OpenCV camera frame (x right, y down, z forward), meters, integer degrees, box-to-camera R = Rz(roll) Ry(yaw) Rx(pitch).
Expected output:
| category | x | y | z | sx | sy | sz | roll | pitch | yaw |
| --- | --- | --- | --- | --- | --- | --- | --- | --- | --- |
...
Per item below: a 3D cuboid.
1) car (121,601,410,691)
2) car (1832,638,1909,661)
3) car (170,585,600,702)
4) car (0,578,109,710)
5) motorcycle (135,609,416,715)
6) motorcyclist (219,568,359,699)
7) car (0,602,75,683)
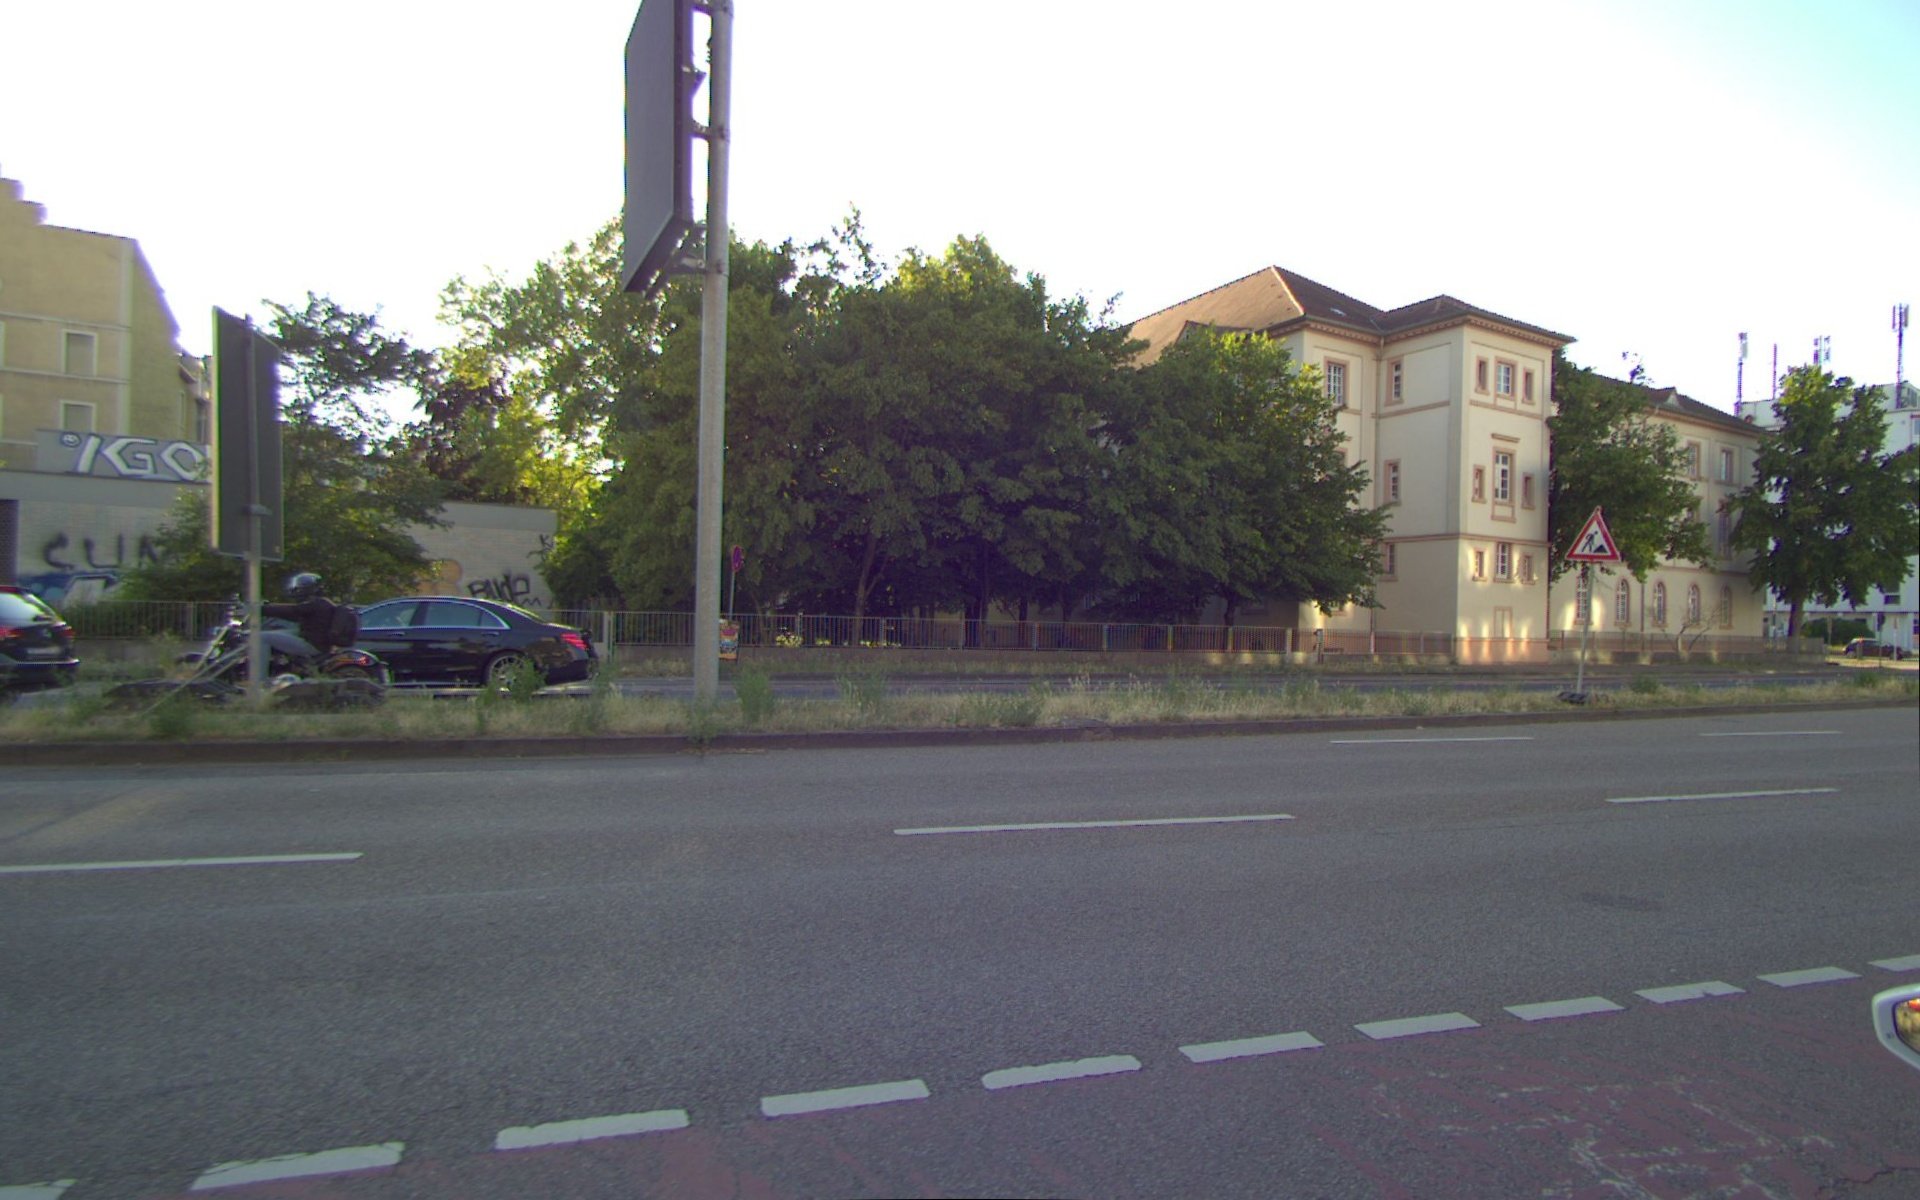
| category | x | y | z | sx | sy | sz | roll | pitch | yaw |
| --- | --- | --- | --- | --- | --- | --- | --- | --- | --- |
| car | -12.425 | 0.823 | 18.301 | 3.940 | 1.483 | 1.851 | 2 | -1 | -21 |
| car | 65.090 | 3.548 | 71.857 | 1.844 | 1.550 | 3.786 | 4 | -4 | -33 |
| car | -8.129 | 0.646 | 14.898 | 5.212 | 1.515 | 1.991 | 2 | -1 | -20 |
| car | -11.776 | 0.397 | 10.279 | 4.303 | 1.313 | 1.720 | 1 | -1 | -14 |
| motorcycle | -7.620 | 0.690 | 11.329 | 2.428 | 1.122 | 0.859 | 1 | -1 | -14 |
| motorcyclist | -7.553 | 0.379 | 11.361 | 1.043 | 1.416 | 0.852 | 1 | -1 | -14 |
| car | -17.521 | 0.659 | 16.675 | 3.831 | 1.313 | 1.718 | 2 | -1 | -16 |
